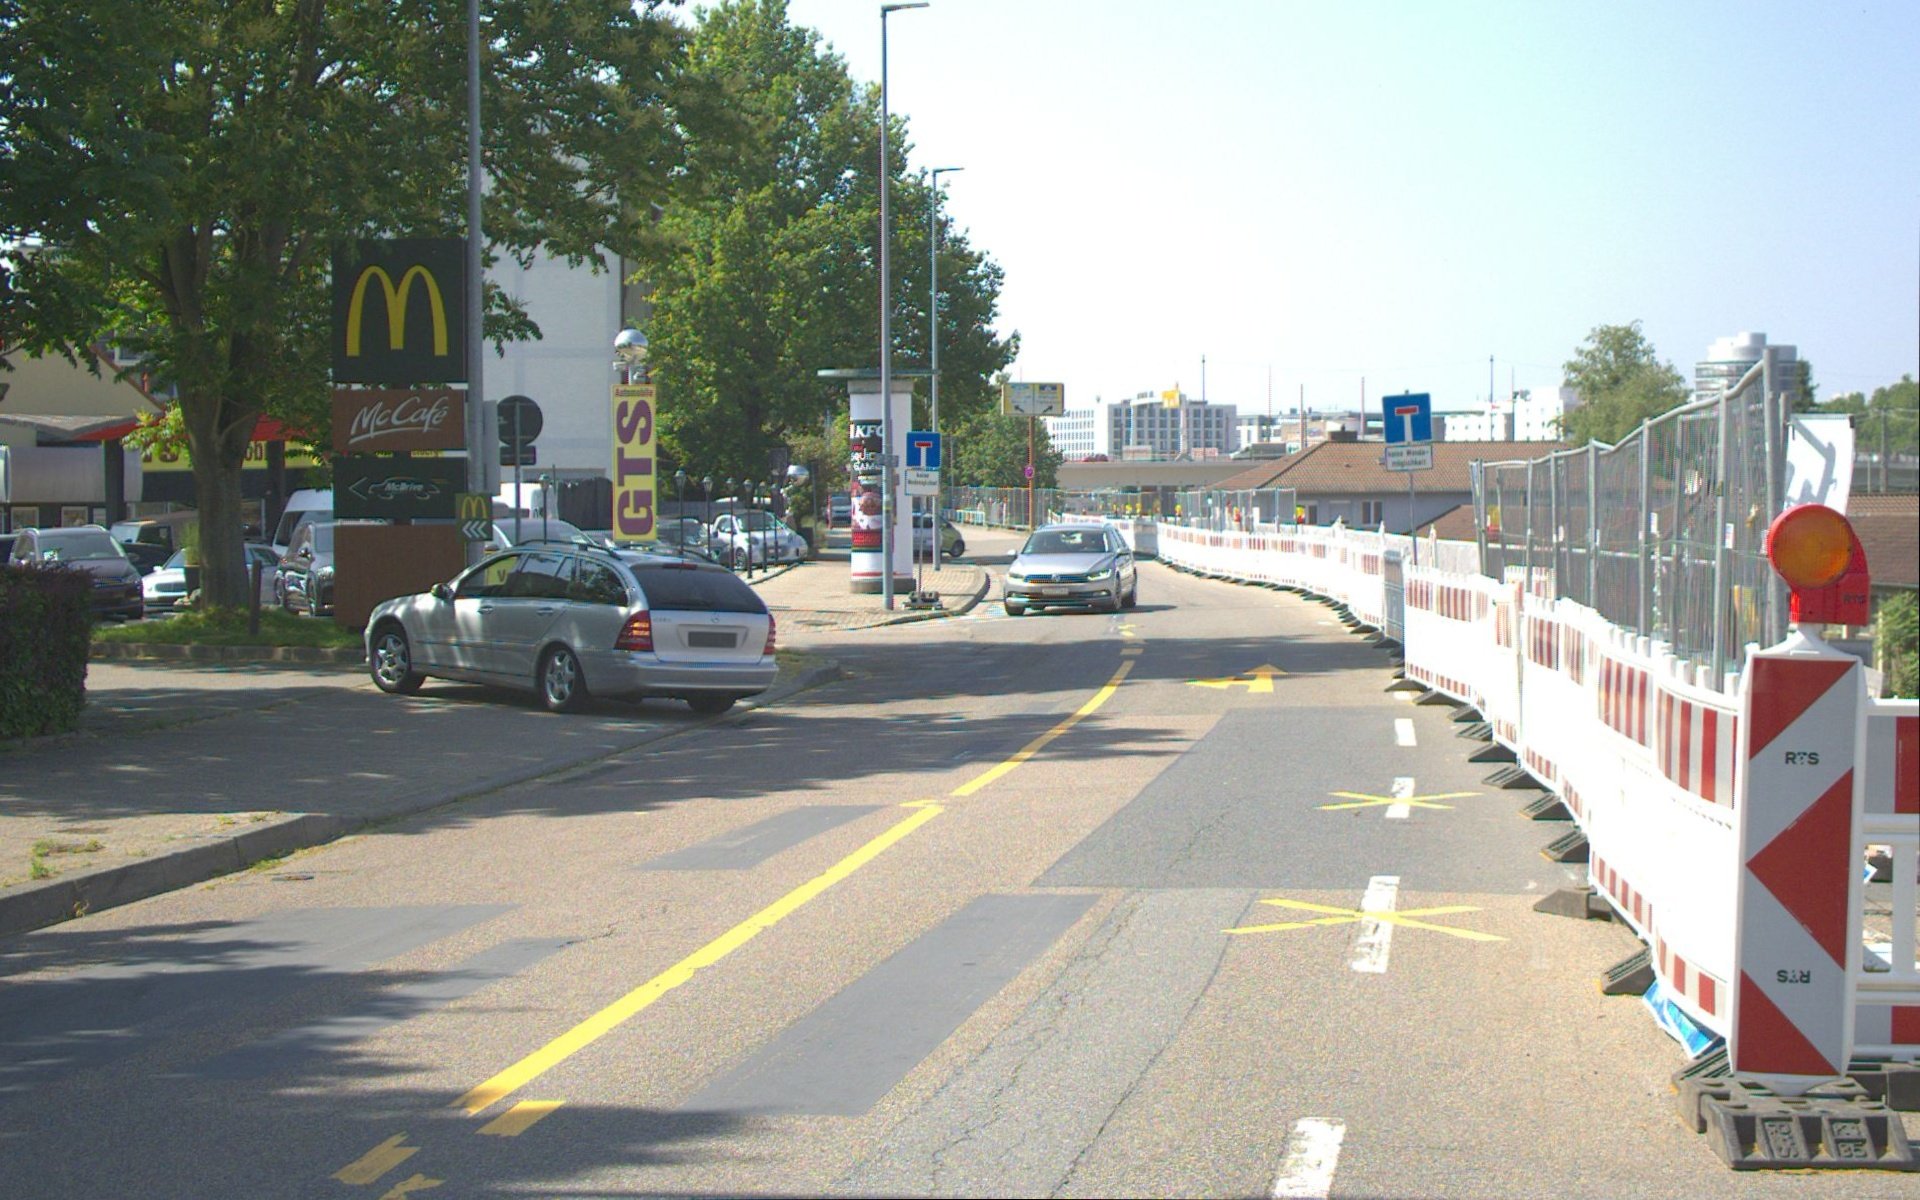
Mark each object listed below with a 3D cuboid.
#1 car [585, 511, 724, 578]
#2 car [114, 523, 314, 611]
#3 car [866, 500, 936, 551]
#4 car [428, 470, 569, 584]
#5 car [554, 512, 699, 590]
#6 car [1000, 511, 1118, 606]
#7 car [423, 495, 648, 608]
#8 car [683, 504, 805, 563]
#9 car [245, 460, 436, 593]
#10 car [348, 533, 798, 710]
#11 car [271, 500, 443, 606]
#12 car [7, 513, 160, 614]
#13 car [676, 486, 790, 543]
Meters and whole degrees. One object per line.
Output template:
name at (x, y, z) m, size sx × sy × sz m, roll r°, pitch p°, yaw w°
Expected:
car at (-7.226, -1.294, 81.053) m, size 1.667 × 1.468 × 4.000 m, roll -4°, pitch 2°, yaw -30°
car at (-14.419, -0.667, 66.733) m, size 1.910 × 1.569 × 4.684 m, roll 0°, pitch 2°, yaw 14°
car at (-1.863, -2.393, 109.492) m, size 1.869 × 1.493 × 4.031 m, roll -1°, pitch 3°, yaw 3°
car at (-10.515, -1.654, 78.780) m, size 2.246 × 2.422 × 5.719 m, roll 2°, pitch 1°, yaw 1°
car at (-6.964, -1.026, 71.495) m, size 1.836 × 1.468 × 4.001 m, roll -4°, pitch 2°, yaw -22°
car at (1.694, -0.722, 57.428) m, size 1.677 × 1.488 × 4.605 m, roll -1°, pitch 2°, yaw 5°
car at (-7.577, -0.843, 61.000) m, size 1.975 × 1.701 × 4.663 m, roll -3°, pitch 0°, yaw -34°
car at (-5.914, -1.795, 93.736) m, size 1.776 × 1.468 × 4.001 m, roll -4°, pitch 2°, yaw -27°
car at (-13.454, -1.594, 75.135) m, size 2.277 × 2.748 × 6.151 m, roll -1°, pitch 1°, yaw 8°
car at (-3.415, 0.136, 29.671) m, size 1.709 × 1.399 × 4.385 m, roll 0°, pitch 1°, yaw -40°
car at (-10.511, -0.787, 59.729) m, size 2.042 × 1.701 × 4.316 m, roll -2°, pitch 0°, yaw -22°
car at (-15.486, -0.658, 60.598) m, size 1.804 × 1.650 × 4.316 m, roll -3°, pitch 2°, yaw -24°
car at (-8.010, -3.031, 121.259) m, size 3.922 × 1.952 × 1.760 m, roll 0°, pitch 2°, yaw -7°
